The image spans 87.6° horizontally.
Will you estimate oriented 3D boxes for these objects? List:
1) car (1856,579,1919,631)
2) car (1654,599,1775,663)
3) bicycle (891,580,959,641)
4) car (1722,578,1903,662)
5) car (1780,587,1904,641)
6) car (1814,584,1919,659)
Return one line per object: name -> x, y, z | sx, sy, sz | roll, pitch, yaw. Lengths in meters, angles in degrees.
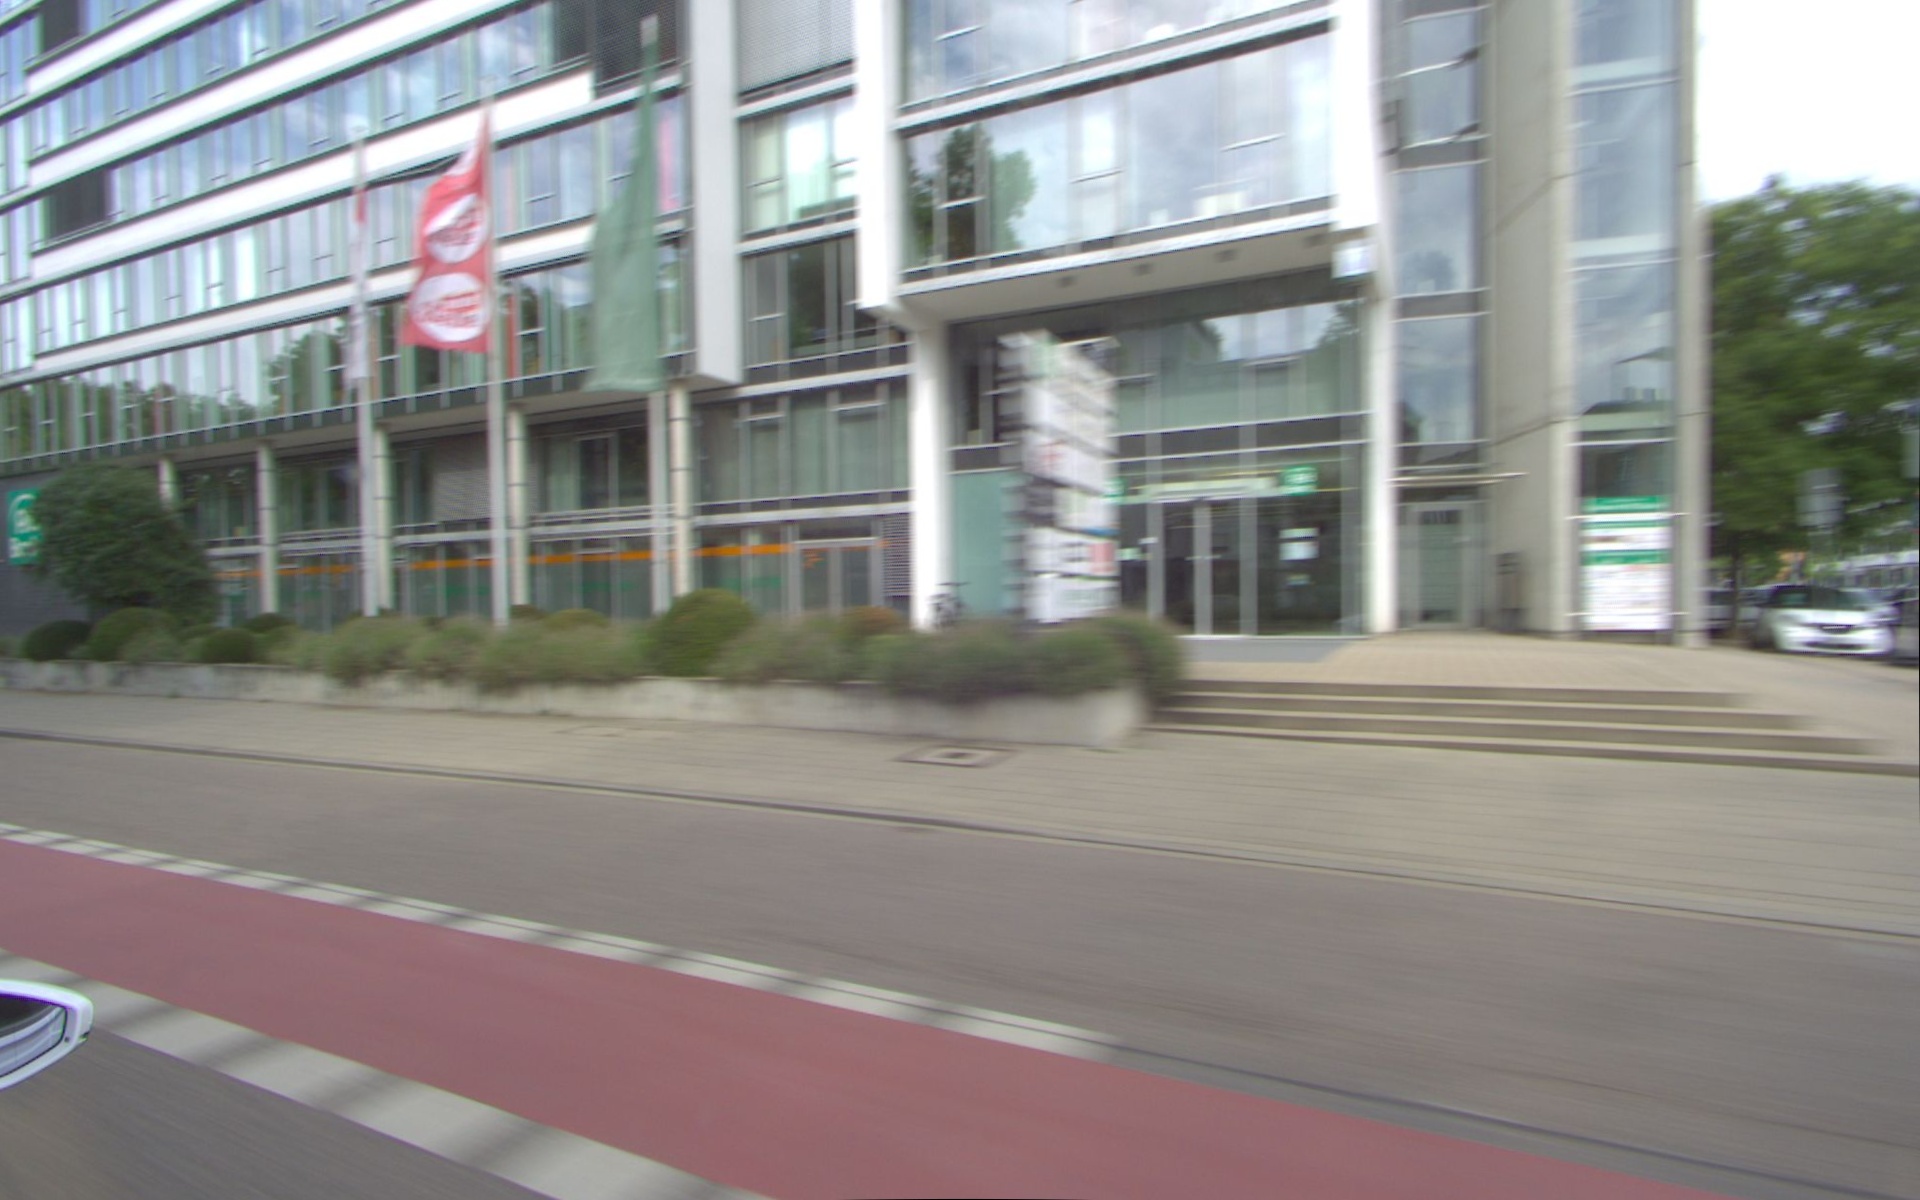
car -> 38.194, 0.174, 40.333 | 1.760, 2.014, 4.110 | 0, 0, 21
car -> 21.036, 0.789, 28.104 | 1.805, 1.578, 4.202 | 2, 1, 25
bicycle -> -0.696, 0.217, 20.721 | 0.576, 1.192, 2.109 | 1, 1, 23
car -> 17.984, 0.358, 21.375 | 1.805, 1.578, 4.202 | 2, 1, 25
car -> 28.853, 0.406, 32.932 | 1.878, 1.607, 4.167 | 2, 1, 25
car -> 22.782, 0.474, 24.532 | 1.692, 1.683, 4.119 | 2, 1, 25
